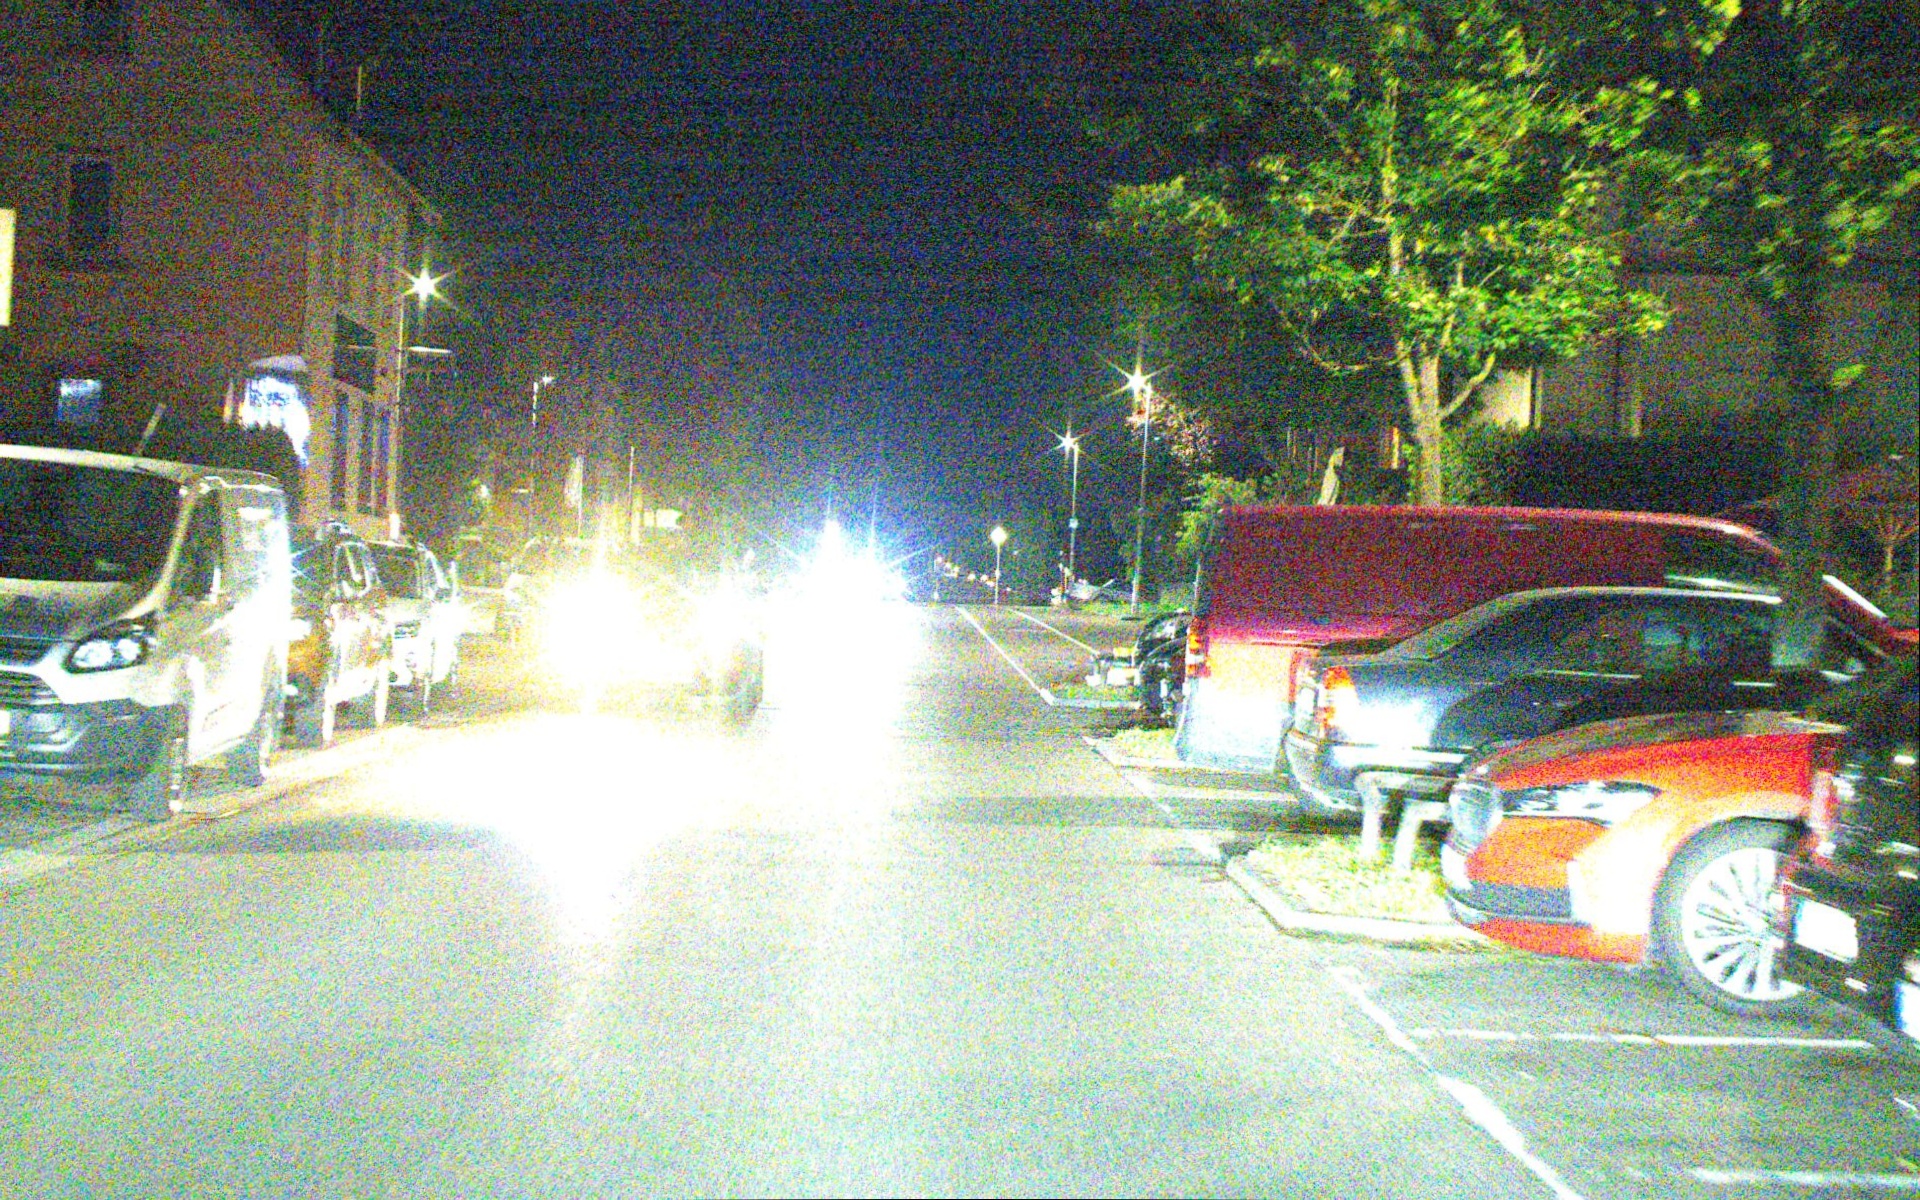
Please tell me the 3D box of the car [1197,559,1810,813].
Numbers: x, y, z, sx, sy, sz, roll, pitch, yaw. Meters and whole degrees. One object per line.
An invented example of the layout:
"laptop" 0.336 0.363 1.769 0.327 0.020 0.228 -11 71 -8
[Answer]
"car" 3.604 0.547 23.420 3.916 1.546 1.987 2 1 4

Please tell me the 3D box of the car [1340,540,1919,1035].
"car" 3.830 0.660 12.284 4.654 1.552 2.106 2 1 0

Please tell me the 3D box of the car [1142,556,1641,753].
"car" 3.585 0.452 29.049 3.916 1.509 1.855 1 0 -1

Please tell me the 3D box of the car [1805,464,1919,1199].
"car" 4.064 0.656 6.853 4.277 1.692 2.000 2 1 4

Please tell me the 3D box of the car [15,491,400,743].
"car" -5.663 0.091 26.413 2.115 1.665 4.170 3 1 -3

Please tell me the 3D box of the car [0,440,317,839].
"car" -5.165 0.111 19.674 2.115 1.940 4.889 5 1 -3

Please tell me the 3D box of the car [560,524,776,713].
"car" -2.820 0.144 33.905 1.719 1.709 3.961 2 1 1

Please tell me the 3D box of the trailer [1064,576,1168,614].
"trailer" 5.465 -0.180 120.656 3.432 0.999 1.954 6 0 -1

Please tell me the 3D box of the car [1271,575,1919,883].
"car" 3.903 0.640 17.767 4.398 1.415 1.935 2 1 1

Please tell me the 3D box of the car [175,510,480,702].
"car" -5.788 0.018 32.018 2.115 1.542 4.477 3 1 -3

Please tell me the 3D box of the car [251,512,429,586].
"car" -14.347 -1.187 79.759 3.986 1.697 1.949 0 1 -8

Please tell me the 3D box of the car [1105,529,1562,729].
"car" 3.697 0.266 34.342 4.355 1.810 2.031 2 1 5

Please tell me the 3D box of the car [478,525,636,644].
"car" -6.114 -0.256 52.580 1.928 1.631 4.471 3 1 -2

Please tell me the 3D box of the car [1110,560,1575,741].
"car" 3.440 0.440 31.380 3.915 1.509 1.855 1 1 -4

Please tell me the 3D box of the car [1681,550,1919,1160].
"car" 4.281 0.715 9.772 3.987 1.552 2.000 2 1 0

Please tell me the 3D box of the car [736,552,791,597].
"car" -7.321 -0.939 128.387 1.672 1.585 3.987 3 0 1
